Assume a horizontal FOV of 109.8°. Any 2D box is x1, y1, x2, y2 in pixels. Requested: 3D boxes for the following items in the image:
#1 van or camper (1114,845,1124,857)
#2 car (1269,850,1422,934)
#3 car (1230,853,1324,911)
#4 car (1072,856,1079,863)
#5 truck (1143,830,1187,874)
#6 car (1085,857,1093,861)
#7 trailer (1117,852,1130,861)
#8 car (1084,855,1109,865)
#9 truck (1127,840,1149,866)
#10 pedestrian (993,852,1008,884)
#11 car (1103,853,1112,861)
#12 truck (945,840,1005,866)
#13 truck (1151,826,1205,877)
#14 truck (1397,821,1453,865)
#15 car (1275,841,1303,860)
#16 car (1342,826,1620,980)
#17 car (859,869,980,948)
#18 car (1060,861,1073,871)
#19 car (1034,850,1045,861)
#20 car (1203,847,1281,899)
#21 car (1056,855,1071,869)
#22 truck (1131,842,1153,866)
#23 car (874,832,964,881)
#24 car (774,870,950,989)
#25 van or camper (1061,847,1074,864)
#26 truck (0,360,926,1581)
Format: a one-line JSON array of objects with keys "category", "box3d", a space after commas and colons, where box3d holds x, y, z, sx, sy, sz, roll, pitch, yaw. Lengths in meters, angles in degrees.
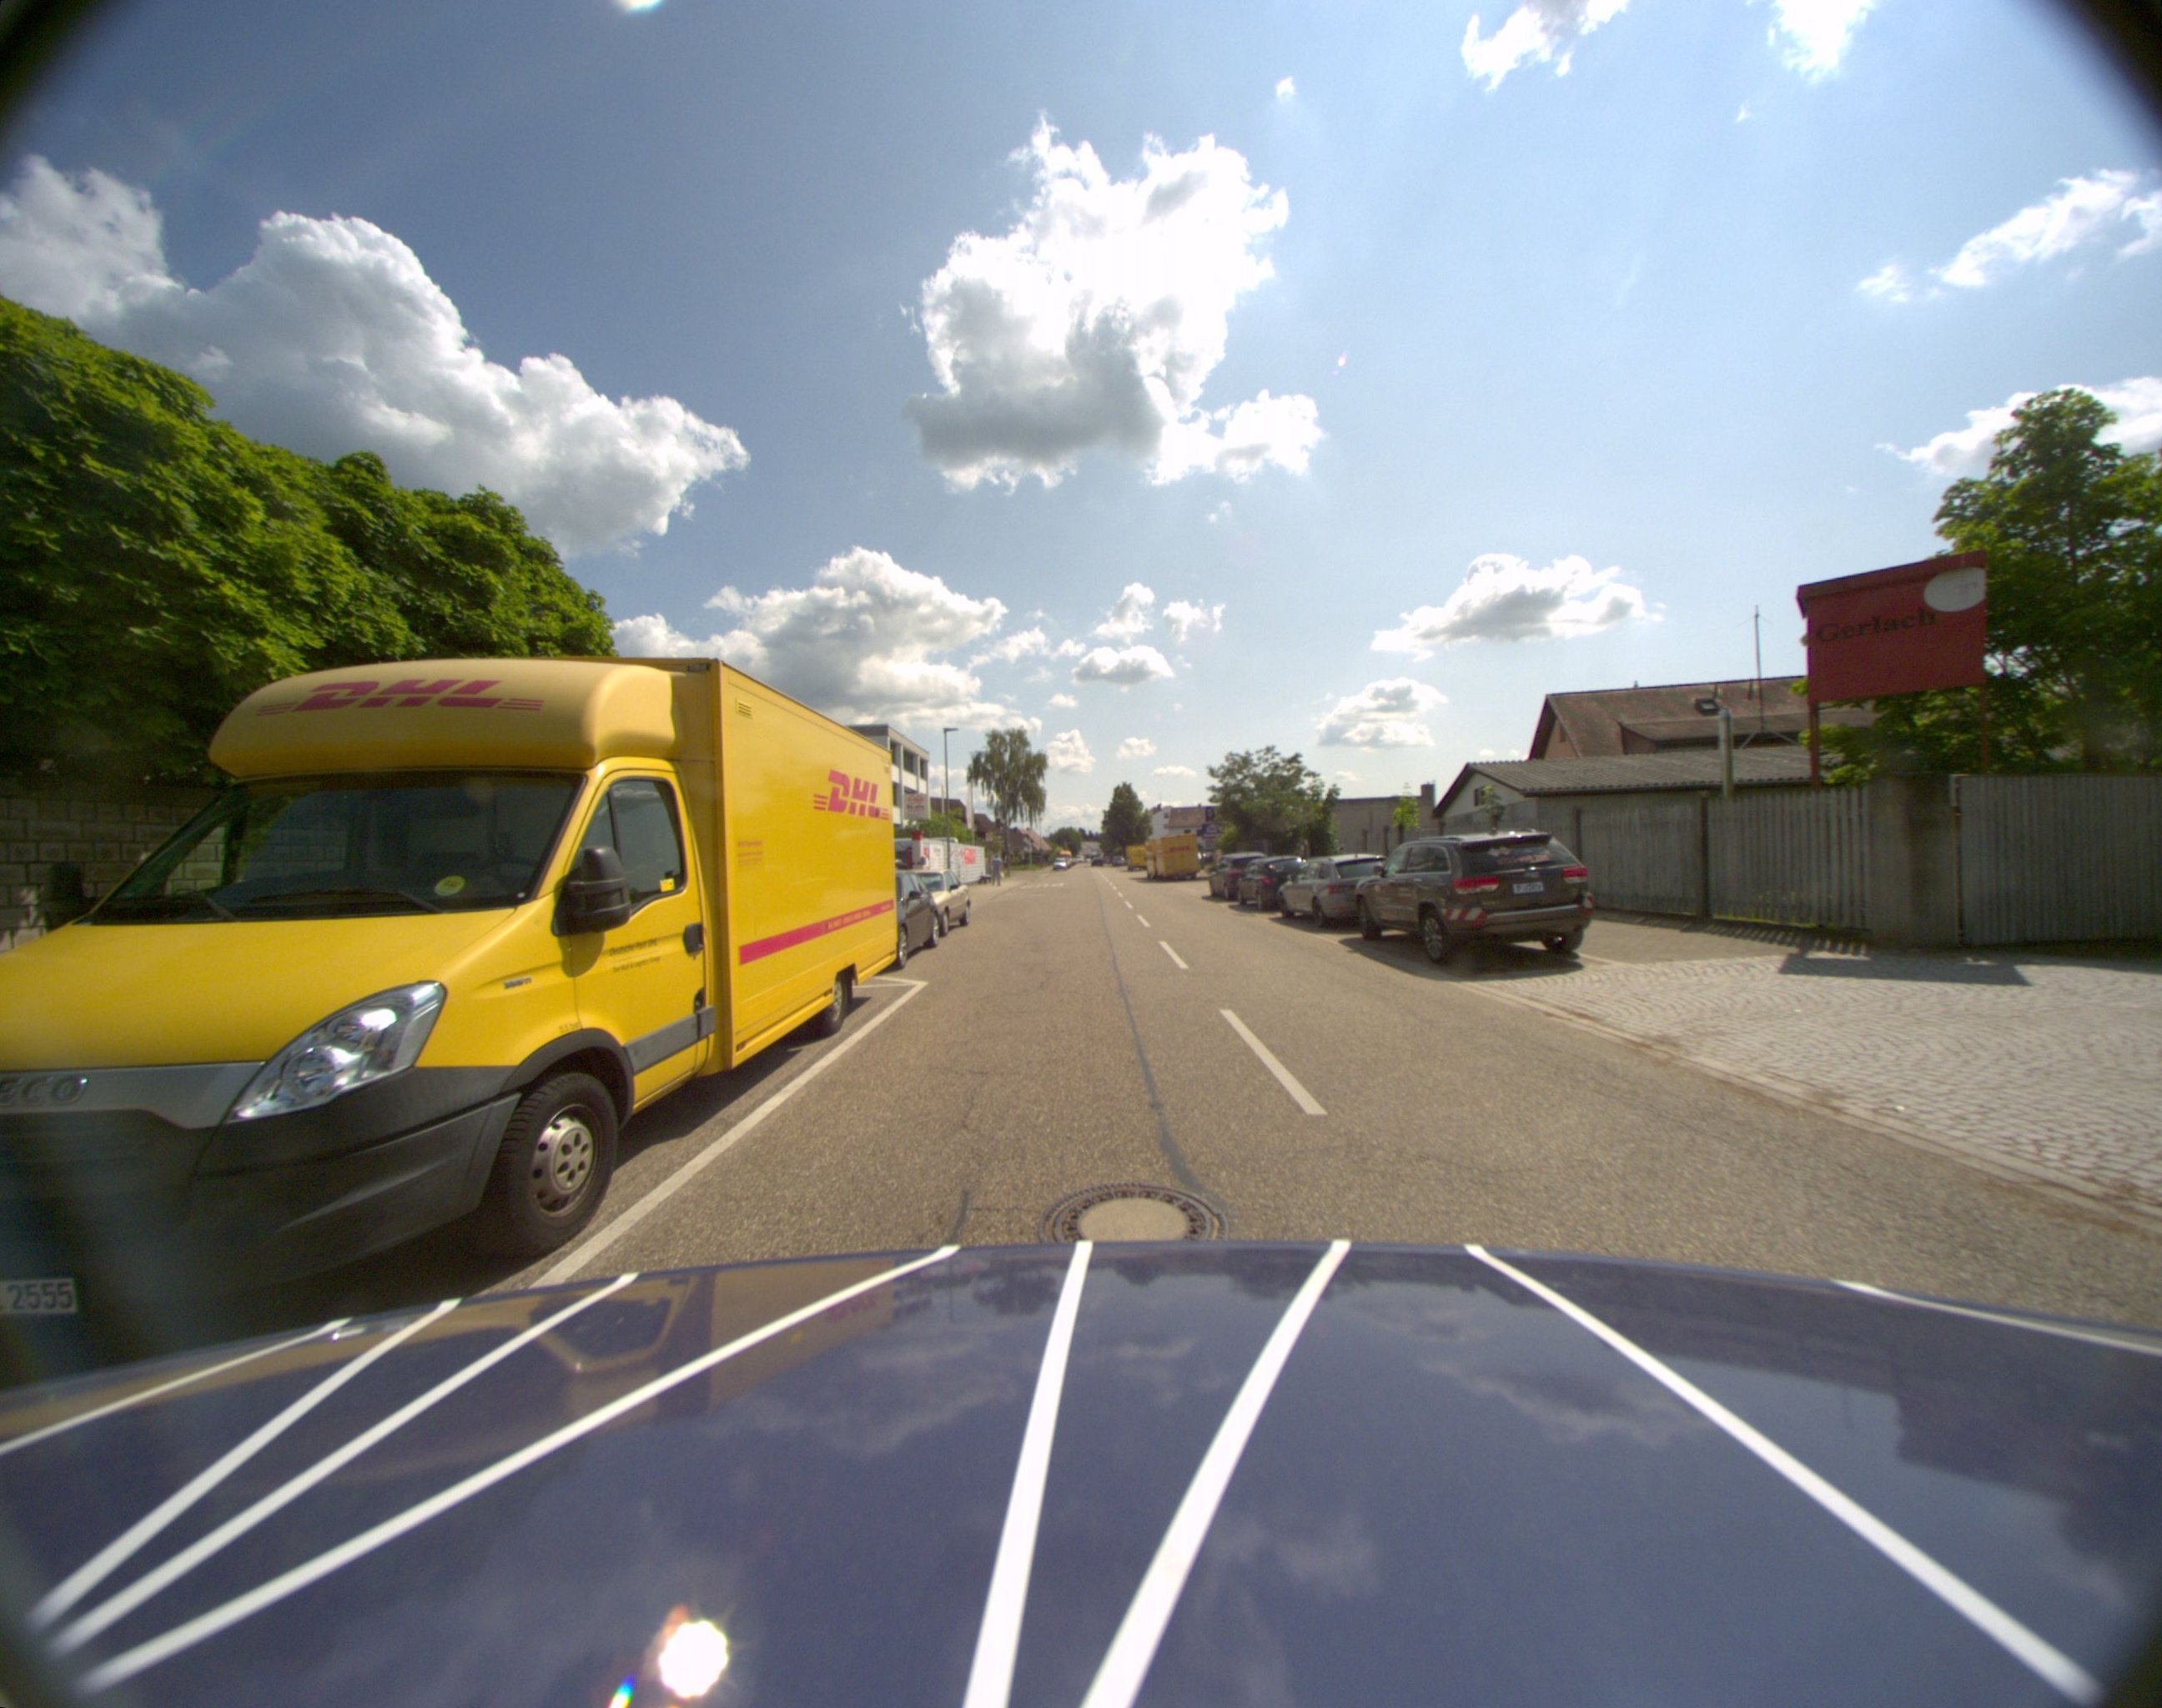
[{"category": "van or camper", "box3d": [8.010, -0.650, 160.839, 1.998, 2.303, 5.934, -5, 0, 3]}, {"category": "car", "box3d": [5.772, 0.752, 17.253, 1.737, 1.509, 4.742, -4, 0, 0]}, {"category": "car", "box3d": [5.778, 0.760, 22.866, 1.632, 1.440, 4.026, -6, 0, -1]}, {"category": "car", "box3d": [-1.614, 1.526, 214.239, 1.896, 1.763, 4.709, -1, 0, 0]}, {"category": "truck", "box3d": [5.990, -0.126, 55.069, 2.275, 2.838, 7.174, -3, 0, 0]}, {"category": "car", "box3d": [2.867, 1.640, 259.219, 1.817, 1.513, 4.269, -1, 0, 14]}, {"category": "trailer", "box3d": [6.805, 0.412, 121.543, 1.766, 1.282, 4.508, -5, 0, 1]}, {"category": "car", "box3d": [2.466, 0.912, 121.765, 2.002, 1.386, 4.584, -4, 0, -25]}, {"category": "truck", "box3d": [6.605, -0.156, 88.872, 2.226, 2.840, 7.070, -3, 0, 2]}, {"category": "pedestrian", "box3d": [-4.525, 0.782, 42.556, 0.717, 1.687, 0.522, 4, 1, -4]}, {"category": "car", "box3d": [6.453, 0.611, 187.393, 1.814, 1.795, 4.491, -5, 0, 0]}, {"category": "truck", "box3d": [-11.968, -0.118, 85.640, 6.067, 2.562, 2.561, -3, 0, -26]}, {"category": "truck", "box3d": [6.011, -0.162, 48.090, 2.322, 2.846, 7.104, -4, 0, 0]}, {"category": "truck", "box3d": [21.057, -0.629, 46.781, 2.113, 2.473, 5.726, -2, 0, 14]}, {"category": "car", "box3d": [15.031, -0.225, 54.886, 1.812, 1.297, 3.874, -1, -1, 15]}, {"category": "car", "box3d": [5.760, 0.583, 11.773, 1.923, 1.811, 4.786, -3, 1, 3]}, {"category": "car", "box3d": [-3.490, 1.127, 17.248, 1.656, 1.379, 4.422, -3, 0, 1]}, {"category": "car", "box3d": [-2.030, 1.754, 109.253, 1.673, 1.327, 4.437, -2, 0, 0]}, {"category": "car", "box3d": [-7.550, 0.256, 138.087, 1.862, 1.855, 5.018, -2, 0, -4]}, {"category": "car", "box3d": [5.801, 0.635, 27.956, 1.729, 1.595, 4.413, -5, 0, -1]}, {"category": "car", "box3d": [-2.214, 1.025, 97.583, 1.614, 1.571, 4.000, -3, 0, 2]}, {"category": "truck", "box3d": [6.493, 0.002, 81.760, 1.998, 2.399, 6.065, -4, 0, 2]}, {"category": "car", "box3d": [-9.410, 0.121, 44.577, 4.922, 2.636, 2.072, -2, 1, -7]}, {"category": "car", "box3d": [-3.379, 1.086, 12.586, 1.666, 1.433, 4.282, -3, 0, -1]}, {"category": "van or camper", "box3d": [-2.182, 0.195, 121.673, 1.999, 2.648, 5.768, -2, 0, -1]}, {"category": "truck", "box3d": [-3.132, 0.322, 5.423, 2.481, 2.923, 7.187, -3, 0, -1]}]
